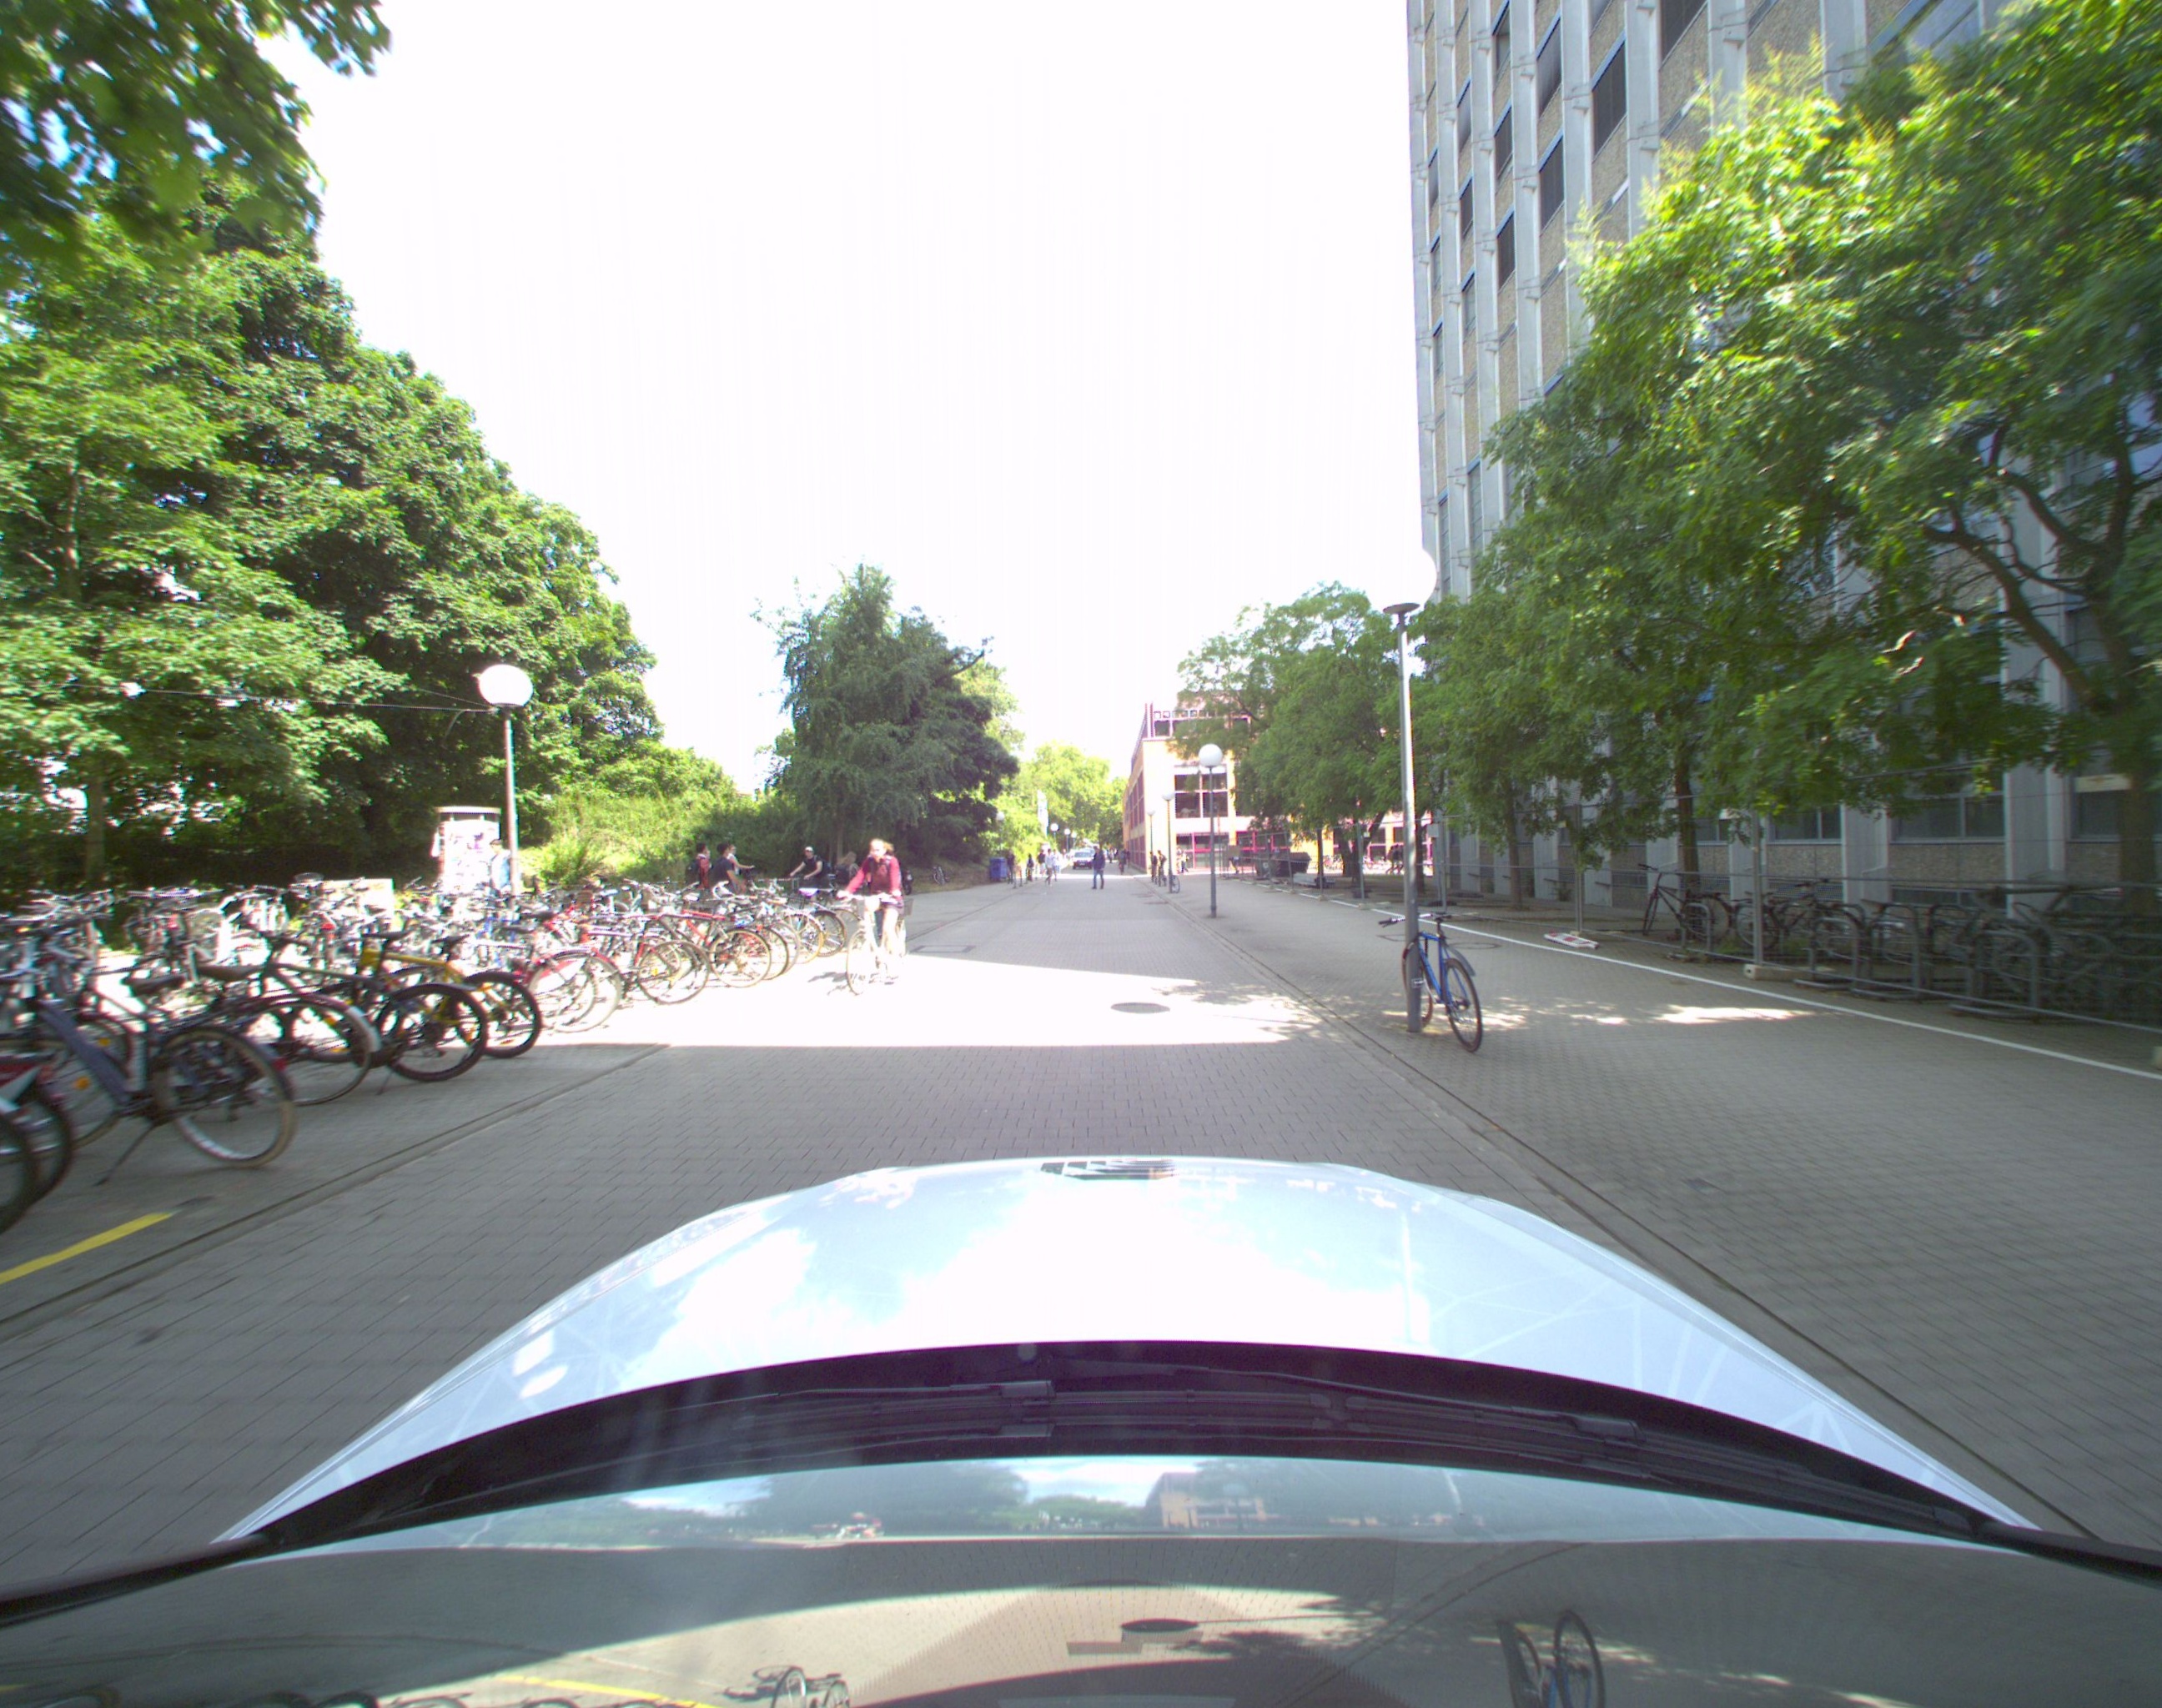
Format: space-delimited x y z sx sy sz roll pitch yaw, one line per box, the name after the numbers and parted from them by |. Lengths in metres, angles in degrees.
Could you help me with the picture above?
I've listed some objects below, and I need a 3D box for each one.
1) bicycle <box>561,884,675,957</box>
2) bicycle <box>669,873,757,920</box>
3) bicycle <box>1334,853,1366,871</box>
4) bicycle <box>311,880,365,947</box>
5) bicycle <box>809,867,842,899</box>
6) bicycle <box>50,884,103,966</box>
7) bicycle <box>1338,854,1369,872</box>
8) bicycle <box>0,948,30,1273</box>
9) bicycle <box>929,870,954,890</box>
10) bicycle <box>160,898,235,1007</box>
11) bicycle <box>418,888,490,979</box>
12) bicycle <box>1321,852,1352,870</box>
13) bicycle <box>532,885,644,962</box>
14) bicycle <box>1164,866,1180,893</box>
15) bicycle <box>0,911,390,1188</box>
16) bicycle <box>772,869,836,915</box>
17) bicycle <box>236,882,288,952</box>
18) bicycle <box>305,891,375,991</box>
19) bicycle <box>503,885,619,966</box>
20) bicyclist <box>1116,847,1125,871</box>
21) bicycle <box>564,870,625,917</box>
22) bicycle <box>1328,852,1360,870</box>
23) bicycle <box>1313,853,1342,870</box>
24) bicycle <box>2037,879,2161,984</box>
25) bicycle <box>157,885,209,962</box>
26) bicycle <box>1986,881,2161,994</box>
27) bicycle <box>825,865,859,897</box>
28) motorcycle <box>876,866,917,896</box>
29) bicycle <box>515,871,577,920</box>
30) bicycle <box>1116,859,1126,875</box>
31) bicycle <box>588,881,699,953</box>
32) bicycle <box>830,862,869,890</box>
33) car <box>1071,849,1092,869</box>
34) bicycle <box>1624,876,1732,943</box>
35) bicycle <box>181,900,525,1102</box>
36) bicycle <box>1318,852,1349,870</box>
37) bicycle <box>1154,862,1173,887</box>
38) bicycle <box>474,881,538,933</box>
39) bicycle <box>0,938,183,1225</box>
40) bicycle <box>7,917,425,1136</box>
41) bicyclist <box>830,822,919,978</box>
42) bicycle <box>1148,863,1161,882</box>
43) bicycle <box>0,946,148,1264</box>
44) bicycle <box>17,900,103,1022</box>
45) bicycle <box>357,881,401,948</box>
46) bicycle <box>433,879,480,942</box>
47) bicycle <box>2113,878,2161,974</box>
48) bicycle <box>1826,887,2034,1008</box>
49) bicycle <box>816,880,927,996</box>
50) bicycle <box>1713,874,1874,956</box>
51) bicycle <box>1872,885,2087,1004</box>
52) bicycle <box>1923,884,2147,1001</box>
-7.224 1.015 12.705 1.705 1.083 0.476 -1 0 15 | bicycle
-8.779 0.997 19.462 1.912 1.047 0.537 0 1 -27 | bicycle
16.451 0.501 49.751 1.801 1.110 0.524 0 0 5 | bicycle
-13.281 1.029 14.538 1.755 1.110 0.477 -1 -1 40 | bicycle
-8.705 0.980 27.735 0.476 1.047 1.680 0 0 -40 | bicycle
-15.083 1.031 12.240 1.755 1.110 0.477 -1 -1 40 | bicycle
16.292 0.529 48.630 1.686 1.110 0.475 0 0 4 | bicycle
-4.660 0.928 2.601 1.694 1.145 0.472 -1 0 -11 | bicycle
-6.490 1.185 38.036 0.418 0.910 1.747 -1 -2 17 | bicycle
-10.020 1.065 9.222 1.678 1.083 0.477 -1 -1 39 | bicycle
-8.435 1.026 10.929 1.678 1.083 0.477 -1 -1 43 | bicycle
16.089 0.459 51.276 1.801 1.110 0.524 0 0 4 | bicycle
-7.373 1.018 12.171 1.680 1.083 0.476 -1 0 20 | bicycle
3.443 0.956 30.977 0.394 0.936 1.732 -3 0 1 | bicycle
-4.550 0.916 4.030 1.692 1.198 0.535 -1 0 -8 | bicycle
-7.203 0.978 21.266 0.468 1.110 1.855 -1 0 21 | bicycle
-14.106 1.057 14.013 1.755 1.110 0.477 -1 -1 40 | bicycle
-9.093 1.018 9.977 1.678 1.083 0.477 -1 -1 43 | bicycle
-7.439 0.992 11.638 1.680 1.083 0.476 -1 0 20 | bicycle
2.837 0.356 58.081 0.585 1.716 0.665 -1 0 -2 | bicyclist
-11.932 0.950 19.944 1.755 1.110 0.477 -1 -1 30 | bicycle
16.261 0.421 50.417 1.803 1.110 0.524 0 0 0 | bicycle
16.358 0.496 54.109 1.803 1.110 0.523 0 0 -1 | bicycle
9.809 0.709 7.482 0.290 0.905 1.447 -2 0 -2 | bicycle
-14.357 1.075 13.014 1.755 1.110 0.477 -1 -1 40 | bicycle
9.305 0.731 7.489 0.290 0.905 1.447 -2 0 -2 | bicycle
-8.289 0.921 28.216 0.476 1.047 1.680 1 -1 -40 | bicycle
-6.920 0.994 30.554 2.001 1.047 0.477 1 1 44 | motorcycle
-12.510 0.952 19.029 1.755 1.110 0.477 -1 -1 30 | bicycle
2.852 0.944 57.991 0.585 1.083 1.906 -1 0 -2 | bicycle
-7.100 1.003 13.210 1.682 1.110 0.476 -1 0 13 | bicycle
-8.937 0.820 31.527 0.468 1.047 1.709 1 0 23 | bicycle
0.113 0.487 76.029 1.784 1.761 4.483 -2 0 1 | car
9.123 0.819 12.514 0.290 0.905 1.615 -2 0 -7 | bicycle
-4.758 0.929 5.415 1.694 1.187 0.472 -1 0 -11 | bicycle
16.192 0.450 52.243 1.804 1.110 0.523 0 0 -2 | bicycle
3.747 0.907 36.953 0.706 1.093 1.749 -1 0 1 | bicycle
-12.874 1.169 18.217 1.755 1.110 0.477 -1 -1 30 | bicycle
-5.010 0.960 3.435 1.694 1.108 0.472 -1 0 -10 | bicycle
-5.059 0.972 4.866 1.694 1.108 0.564 -1 0 -11 | bicycle
-2.409 0.521 9.594 0.769 1.716 0.910 -2 -1 -2 | bicyclist
3.810 0.947 42.290 0.449 0.962 1.740 -4 0 1 | bicycle
-4.749 0.954 3.059 1.694 1.108 0.472 -1 0 -11 | bicycle
-10.501 1.048 8.361 1.677 1.083 0.477 -1 -1 36 | bicycle
-12.848 1.074 14.895 1.756 1.110 0.477 -1 -1 45 | bicycle
-11.972 1.043 15.584 1.756 1.110 0.477 -1 -1 45 | bicycle
10.548 0.698 7.461 0.290 0.905 1.447 -2 0 -2 | bicycle
7.497 0.781 7.277 0.290 0.905 1.447 -2 0 -2 | bicycle
-2.394 0.915 9.576 0.769 1.150 2.107 -2 -1 -1 | bicycle
8.991 0.732 10.379 0.290 0.905 1.801 -2 0 -7 | bicycle
8.033 0.768 7.366 0.290 0.905 1.447 -2 0 -2 | bicycle
8.632 0.759 7.452 0.290 0.905 1.447 -2 0 -2 | bicycle
